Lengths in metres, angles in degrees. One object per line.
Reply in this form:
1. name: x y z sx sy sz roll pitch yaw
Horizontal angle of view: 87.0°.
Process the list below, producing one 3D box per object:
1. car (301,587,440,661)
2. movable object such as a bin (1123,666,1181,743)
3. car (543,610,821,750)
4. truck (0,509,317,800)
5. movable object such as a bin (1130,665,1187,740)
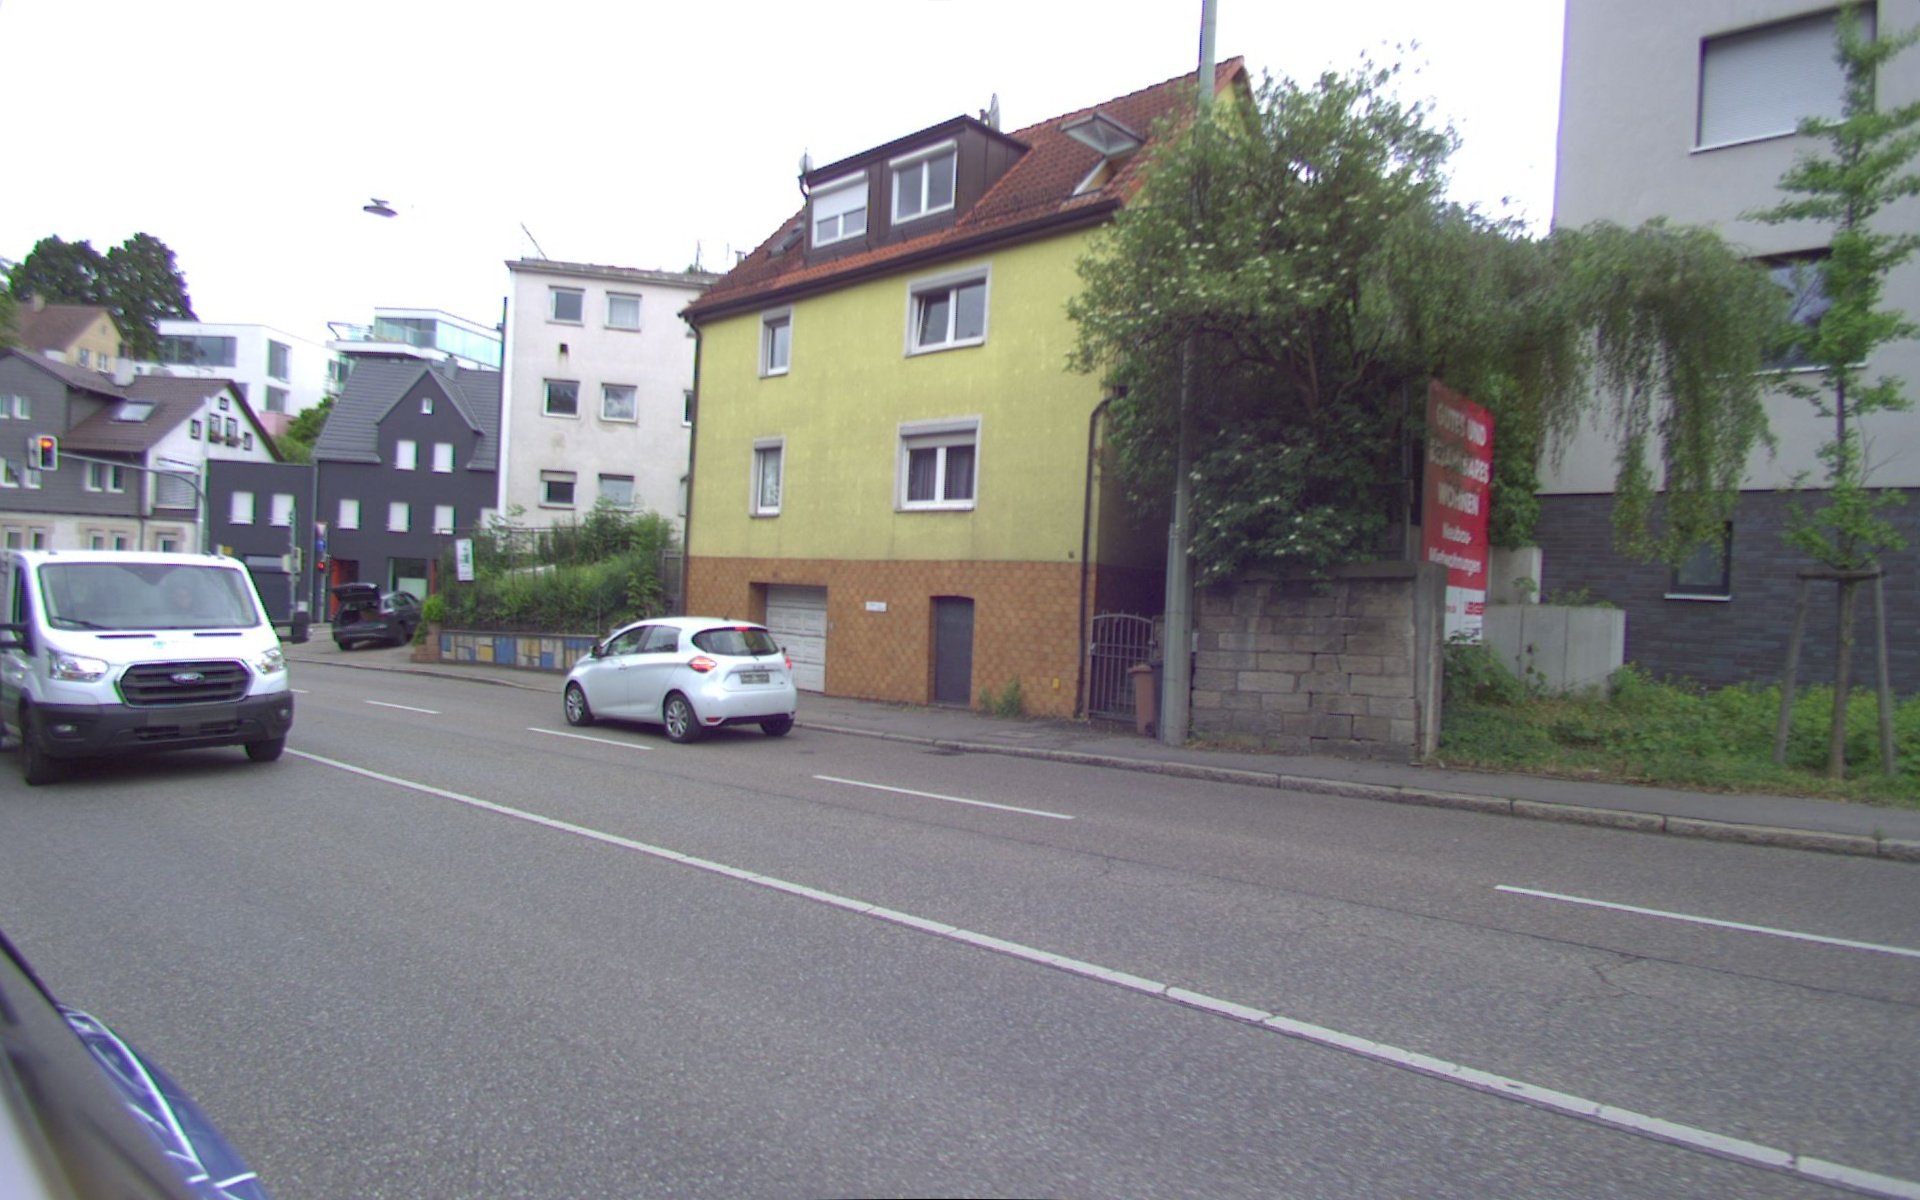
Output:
1. car: -18.982 0.688 32.872 2.281 1.724 4.715 -4 6 -10
2. movable object such as a bin: 2.419 1.301 12.744 0.606 0.892 0.565 1 0 24
3. car: -3.876 1.016 13.780 4.055 1.626 1.725 -2 -4 42
4. truck: -9.310 0.489 10.902 6.323 2.339 2.055 -1 -1 38
5. movable object such as a bin: 2.566 1.312 13.065 0.606 0.892 0.565 -1 1 24
